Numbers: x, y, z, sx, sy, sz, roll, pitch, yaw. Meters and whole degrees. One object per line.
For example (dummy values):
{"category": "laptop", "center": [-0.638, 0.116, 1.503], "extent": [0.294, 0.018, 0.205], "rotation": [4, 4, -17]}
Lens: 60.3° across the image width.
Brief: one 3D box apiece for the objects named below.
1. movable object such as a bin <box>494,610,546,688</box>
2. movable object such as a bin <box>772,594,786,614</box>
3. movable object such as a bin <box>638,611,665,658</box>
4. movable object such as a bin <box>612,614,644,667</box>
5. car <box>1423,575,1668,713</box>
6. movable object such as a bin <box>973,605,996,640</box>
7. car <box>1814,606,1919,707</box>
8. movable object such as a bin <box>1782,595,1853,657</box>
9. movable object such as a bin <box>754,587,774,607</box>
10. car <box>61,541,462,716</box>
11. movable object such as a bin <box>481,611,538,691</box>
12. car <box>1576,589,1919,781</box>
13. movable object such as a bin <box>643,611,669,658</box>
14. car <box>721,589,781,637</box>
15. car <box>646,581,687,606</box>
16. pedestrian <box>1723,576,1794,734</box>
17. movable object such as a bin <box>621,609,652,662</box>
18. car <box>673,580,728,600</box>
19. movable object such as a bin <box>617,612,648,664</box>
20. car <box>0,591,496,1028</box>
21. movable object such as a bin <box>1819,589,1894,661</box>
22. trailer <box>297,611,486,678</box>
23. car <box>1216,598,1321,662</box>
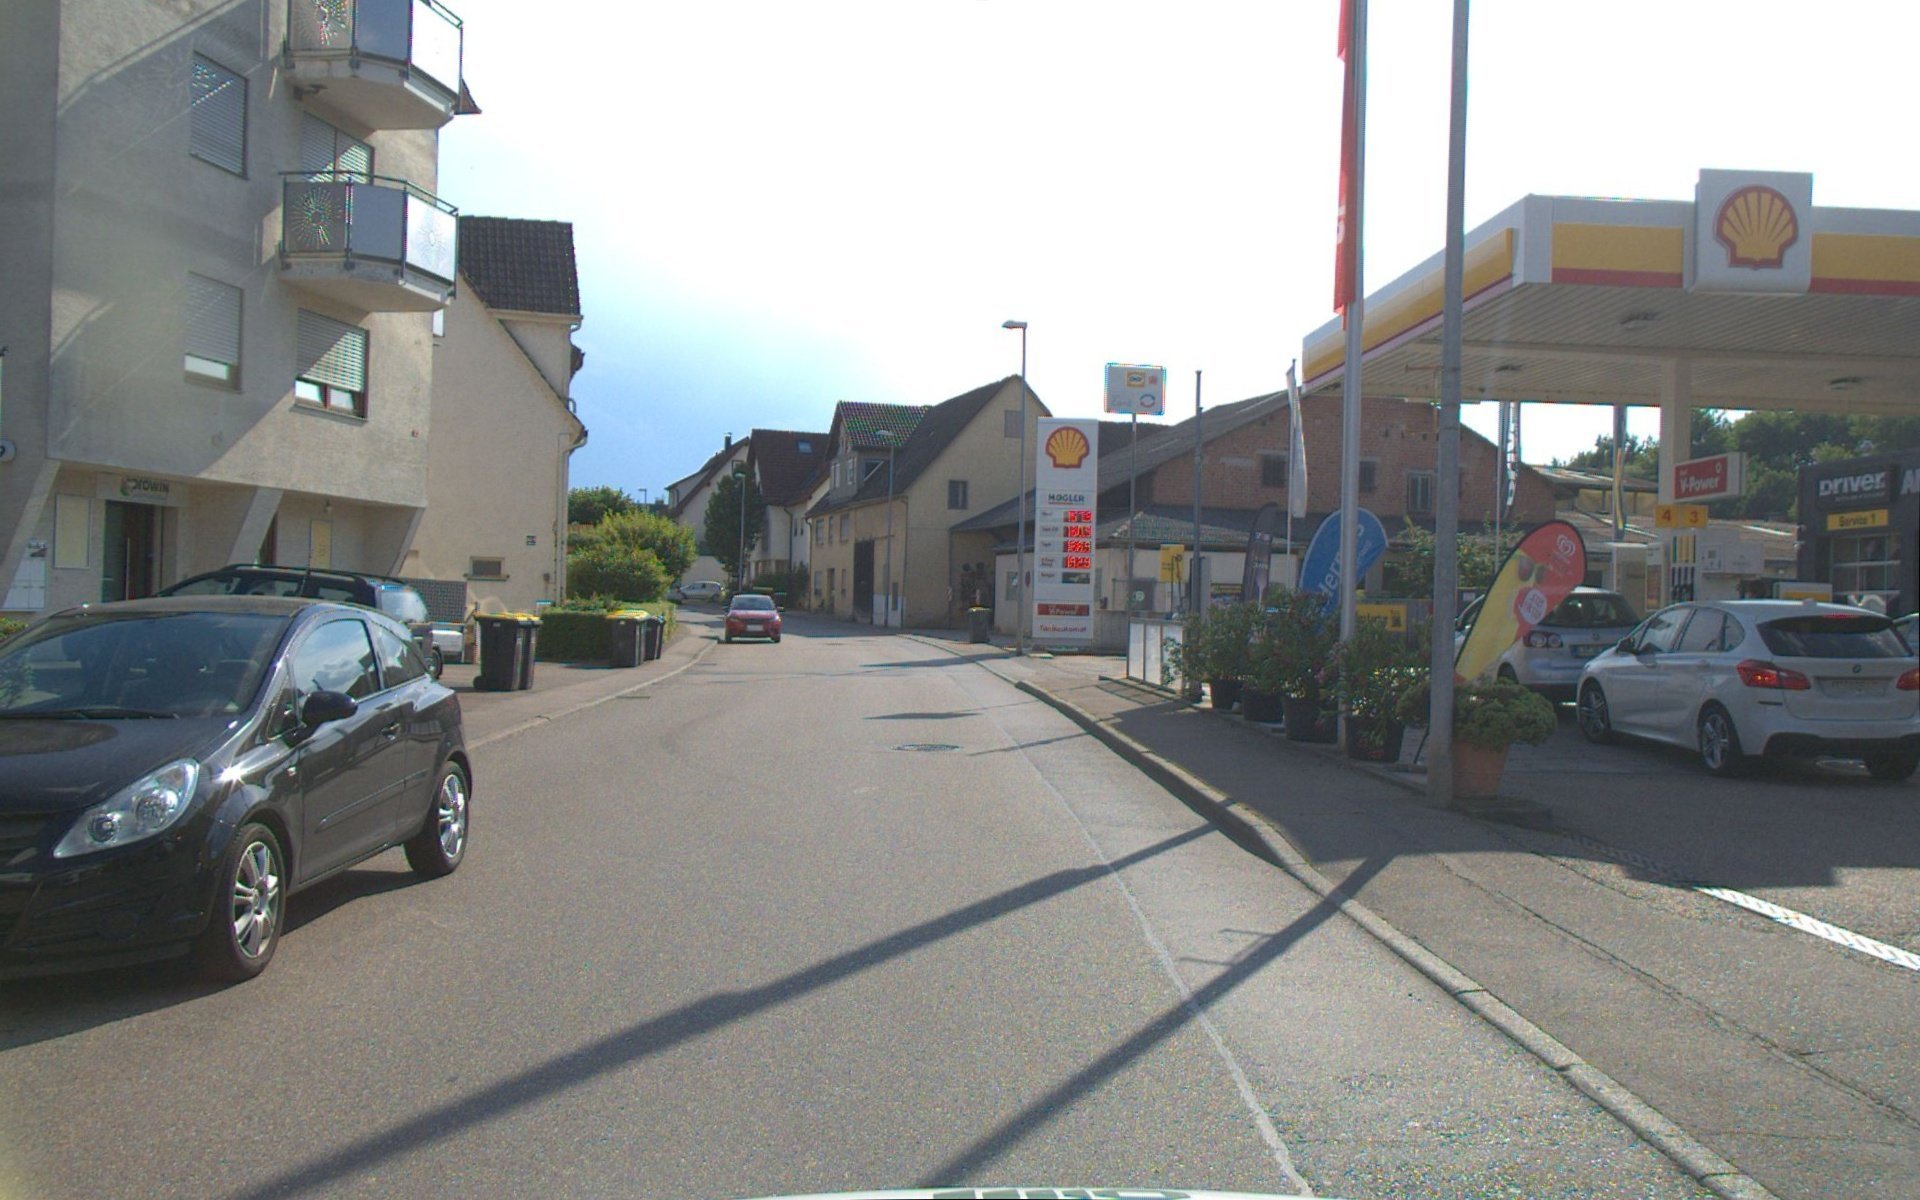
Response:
{"category": "movable object such as a bin", "center": [-6.473, 0.718, 24.367], "extent": [0.558, 1.089, 0.557], "rotation": [4, 0, -3]}
{"category": "movable object such as a bin", "center": [-9.964, 0.218, 91.051], "extent": [0.643, 1.092, 0.510], "rotation": [1, 0, -18]}
{"category": "movable object such as a bin", "center": [-6.890, 0.770, 36.937], "extent": [0.521, 1.040, 0.457], "rotation": [0, 0, -3]}
{"category": "movable object such as a bin", "center": [-7.032, 0.856, 35.072], "extent": [0.576, 1.103, 0.508], "rotation": [0, 0, -3]}
{"category": "car", "center": [7.449, 0.508, 21.453], "extent": [1.638, 1.605, 3.997], "rotation": [1, 0, -2]}
{"category": "movable object such as a bin", "center": [0.776, 0.707, 52.432], "extent": [0.640, 1.092, 0.512], "rotation": [1, 0, -5]}
{"category": "car", "center": [14.317, 0.827, 24.176], "extent": [1.506, 1.425, 3.996], "rotation": [1, -1, -2]}
{"category": "movable object such as a bin", "center": [19.932, 0.599, 38.458], "extent": [0.969, 1.400, 1.126], "rotation": [1, 0, -8]}
{"category": "movable object such as a bin", "center": [-11.939, -0.200, 100.738], "extent": [1.141, 1.189, 0.652], "rotation": [1, 0, -14]}
{"category": "car", "center": [-8.177, 0.307, 19.515], "extent": [3.904, 1.564, 1.764], "rotation": [6, 1, 9]}
{"category": "movable object such as a bin", "center": [-6.459, 0.722, 23.741], "extent": [0.587, 1.089, 0.618], "rotation": [4, 0, -3]}
{"category": "car", "center": [7.598, 0.710, 16.024], "extent": [1.638, 1.605, 3.997], "rotation": [1, 0, -2]}
{"category": "movable object such as a bin", "center": [-6.877, 0.782, 37.426], "extent": [0.521, 1.040, 0.457], "rotation": [0, 0, -3]}
{"category": "car", "center": [-6.650, 0.388, 52.472], "extent": [1.678, 1.460, 3.770], "rotation": [0, 0, -11]}
{"category": "car", "center": [-19.755, -0.459, 111.297], "extent": [1.684, 1.606, 3.967], "rotation": [1, 0, -26]}
{"category": "pedestrian", "center": [8.754, 0.594, 18.134], "extent": [0.490, 1.699, 0.534], "rotation": [1, -1, -2]}
{"category": "movable object such as a bin", "center": [-7.102, 0.784, 36.341], "extent": [0.576, 1.141, 0.617], "rotation": [0, 0, -3]}
{"category": "car", "center": [-18.996, -0.709, 120.930], "extent": [3.916, 1.376, 1.706], "rotation": [1, 0, -11]}
{"category": "movable object such as a bin", "center": [-7.061, 0.826, 35.722], "extent": [0.576, 1.103, 0.529], "rotation": [0, 0, -3]}
{"category": "car", "center": [-3.446, 0.705, 7.501], "extent": [1.638, 1.477, 3.833], "rotation": [1, 0, -1]}
{"category": "movable object such as a bin", "center": [19.950, 0.553, 36.831], "extent": [0.968, 1.556, 1.208], "rotation": [1, 0, -3]}
{"category": "trailer", "center": [-8.635, 0.703, 25.330], "extent": [1.302, 0.870, 2.893], "rotation": [3, -2, 15]}
{"category": "car", "center": [7.718, 0.712, 41.771], "extent": [1.547, 1.452, 4.378], "rotation": [2, 0, -4]}
